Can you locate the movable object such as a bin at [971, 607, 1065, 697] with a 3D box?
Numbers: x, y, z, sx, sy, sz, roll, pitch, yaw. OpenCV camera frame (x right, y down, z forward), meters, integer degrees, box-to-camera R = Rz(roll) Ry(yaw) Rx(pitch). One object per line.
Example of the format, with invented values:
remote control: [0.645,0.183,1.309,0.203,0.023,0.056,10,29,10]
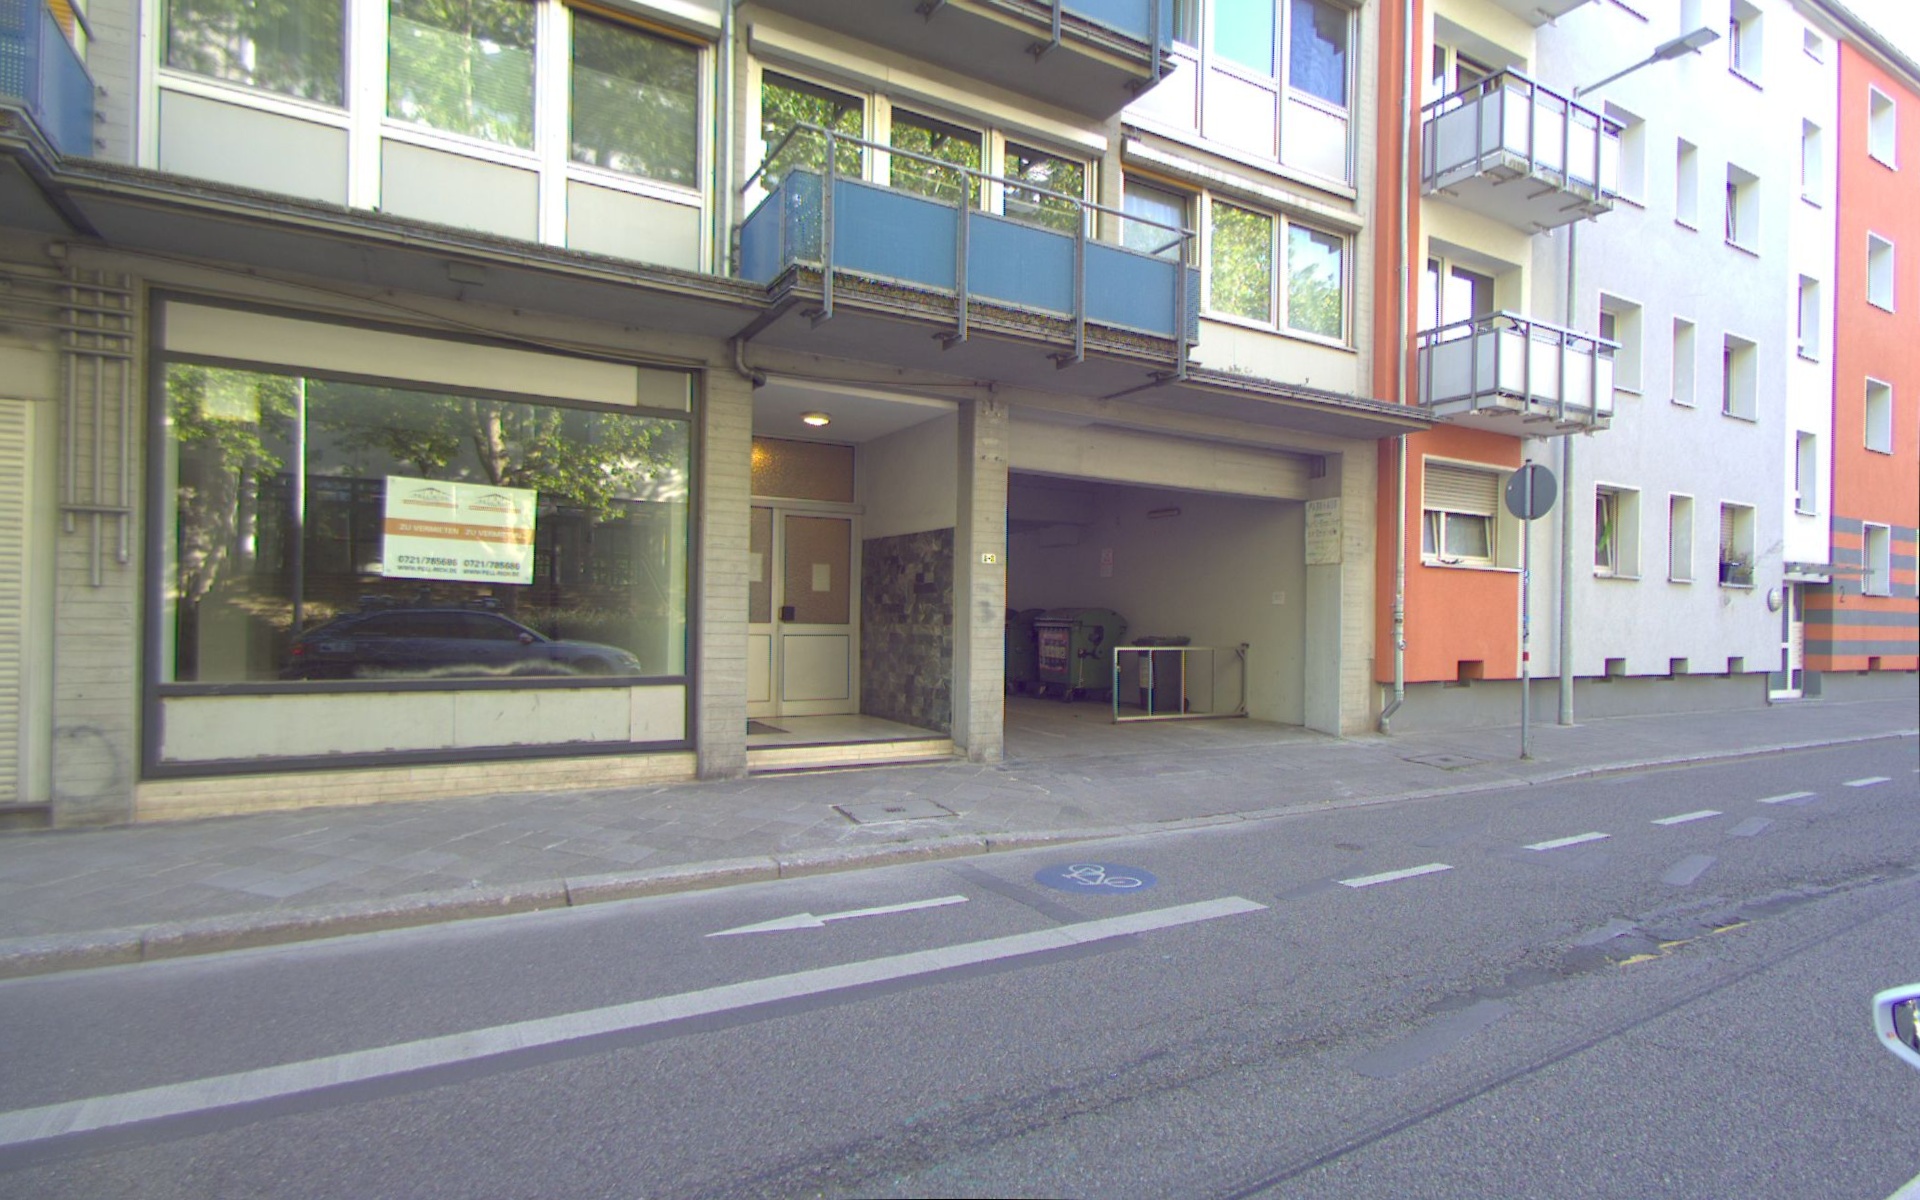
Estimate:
movable object such as a bin: [0.978,0.862,17.175,1.116,1.444,1.201,1,0,-30]

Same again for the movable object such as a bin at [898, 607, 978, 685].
movable object such as a bin: [-0.440,0.875,19.622,1.116,1.444,1.201,1,0,-30]

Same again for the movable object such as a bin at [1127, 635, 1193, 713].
movable object such as a bin: [2.887,1.050,14.505,0.667,1.079,0.639,1,0,-30]

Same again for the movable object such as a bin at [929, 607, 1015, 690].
movable object such as a bin: [0.208,0.868,18.473,1.116,1.444,1.201,1,0,-30]

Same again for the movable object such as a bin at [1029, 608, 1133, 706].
movable object such as a bin: [1.890,0.868,15.816,1.116,1.444,1.201,1,0,-30]
